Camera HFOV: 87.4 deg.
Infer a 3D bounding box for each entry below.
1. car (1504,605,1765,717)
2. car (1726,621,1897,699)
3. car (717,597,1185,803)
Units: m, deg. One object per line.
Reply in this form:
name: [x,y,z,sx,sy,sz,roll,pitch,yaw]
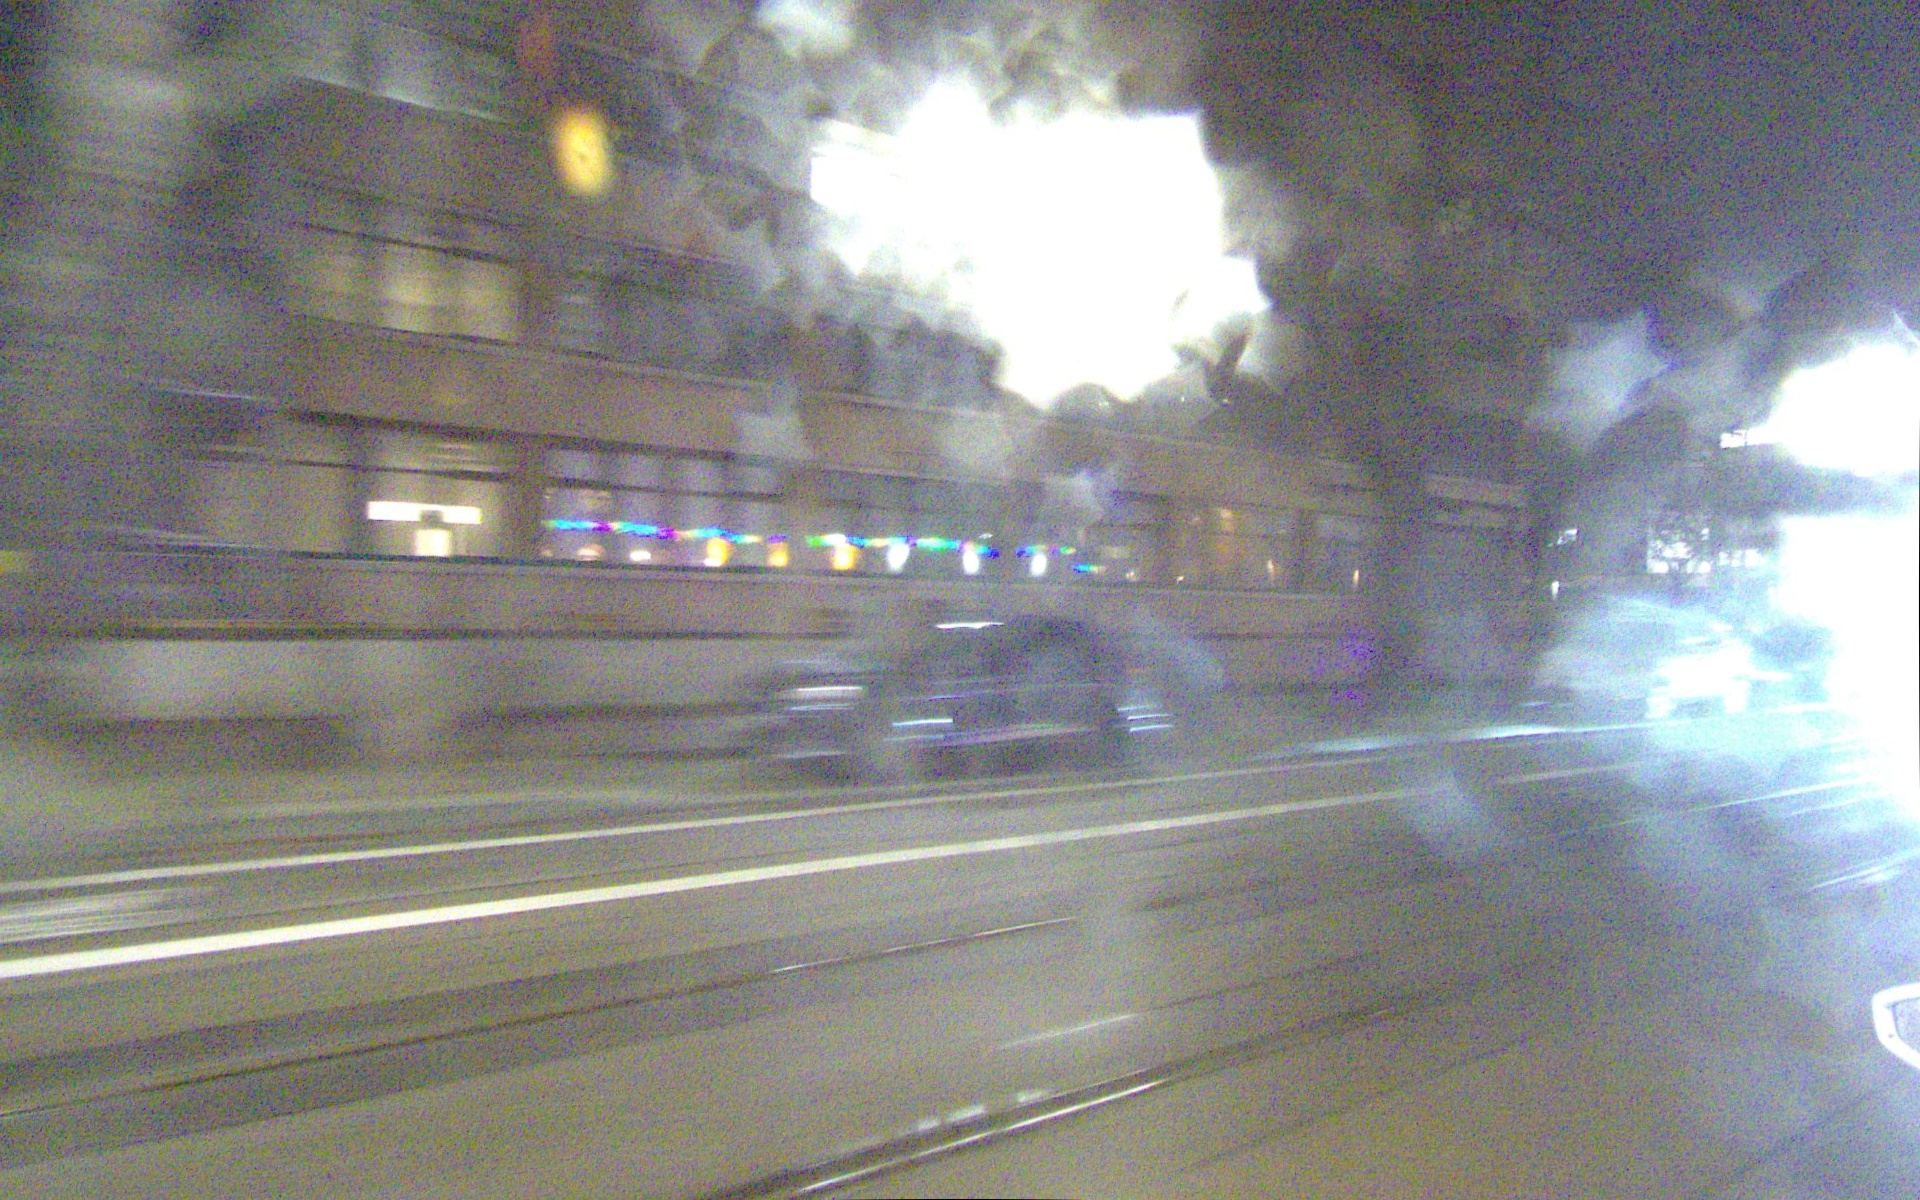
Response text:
car: [11.472,0.964,17.034,4.465,1.653,1.973,1,0,-31]
car: [17.386,1.154,20.470,3.873,1.440,1.680,1,-1,-34]
car: [0.001,0.856,10.096,4.353,1.566,1.868,1,3,-34]
